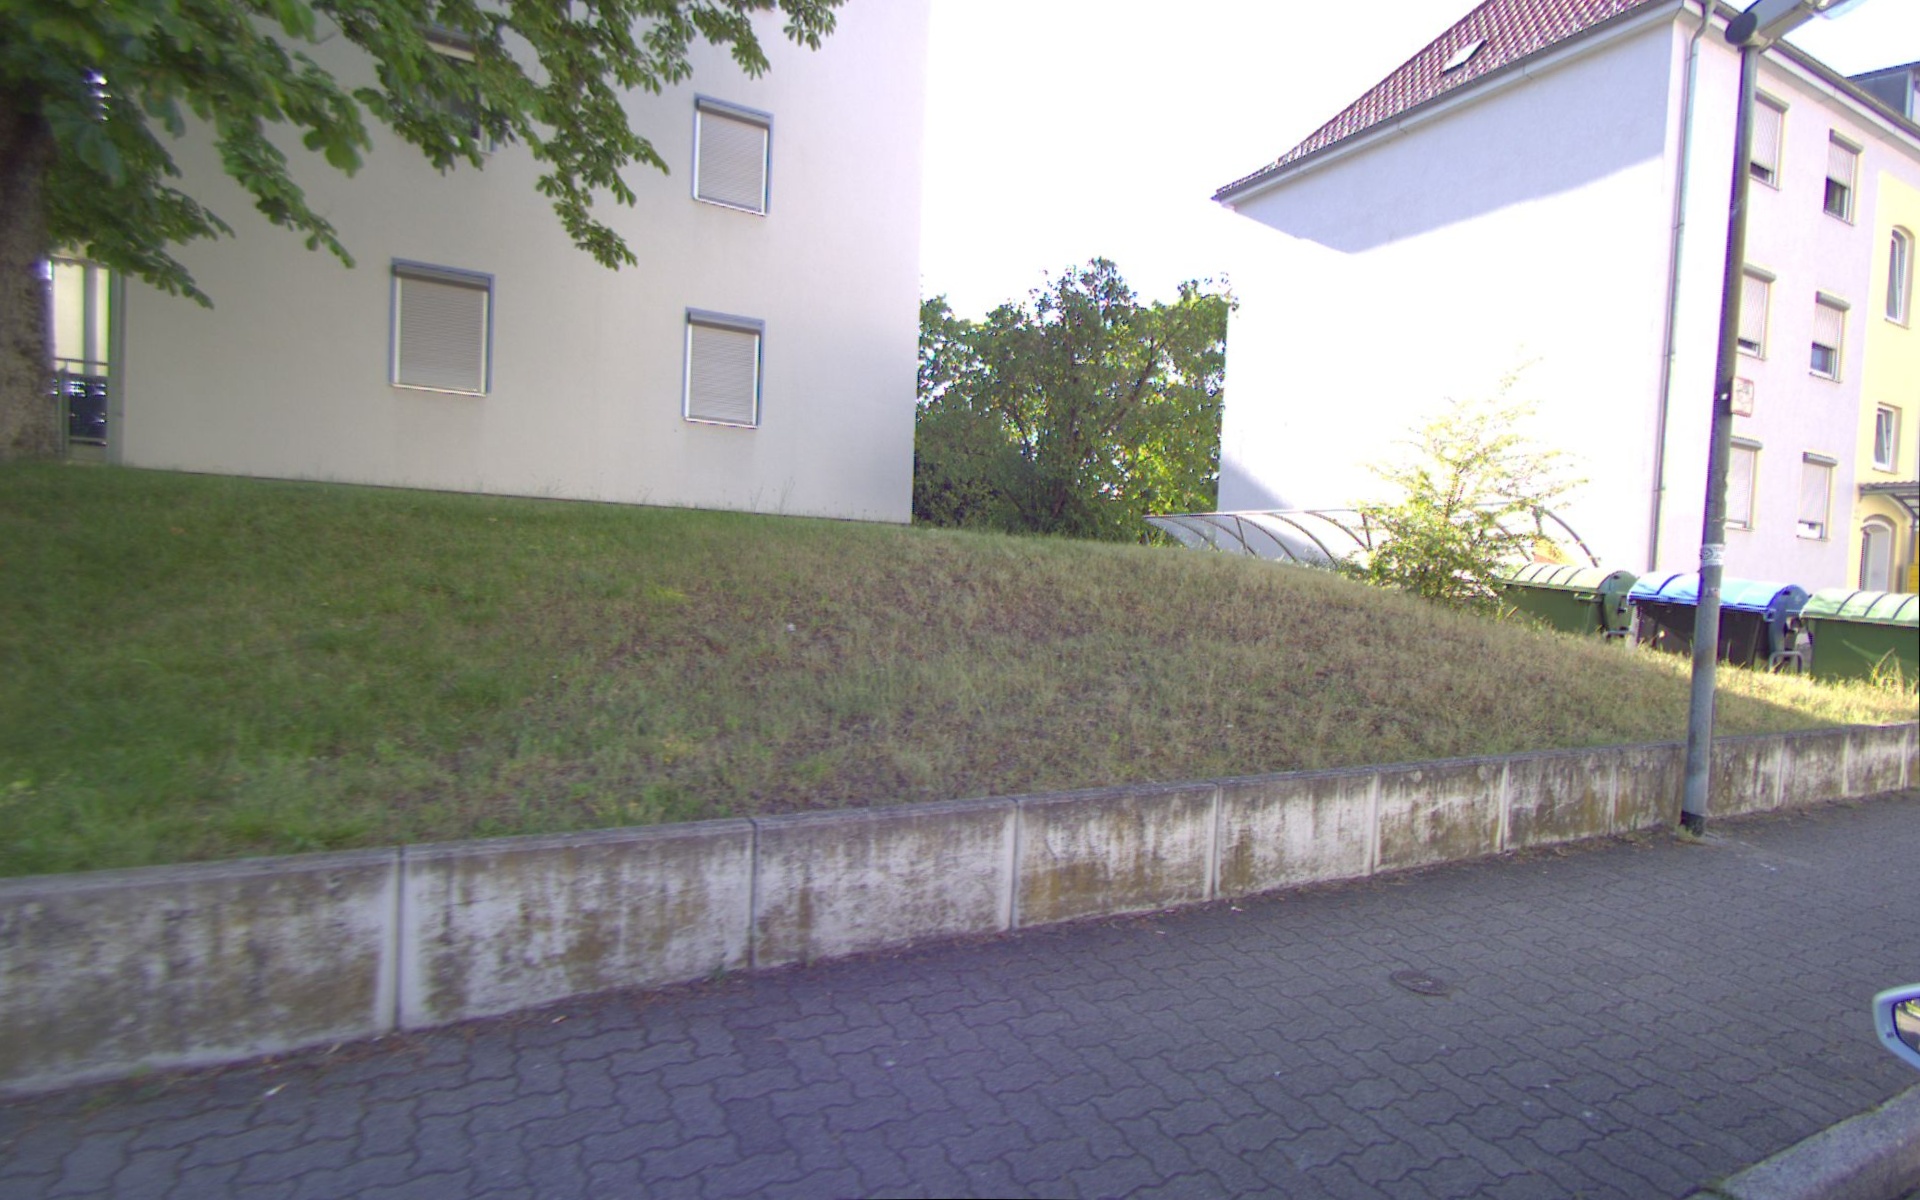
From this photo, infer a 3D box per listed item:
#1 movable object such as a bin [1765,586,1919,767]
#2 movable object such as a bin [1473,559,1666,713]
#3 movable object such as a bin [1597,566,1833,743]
[{"bbox_3d":[8.515,0.665,9.091,1.249,1.498,1.485,2,2,-28],"label":"movable object such as a bin"},{"bbox_3d":[7.032,0.378,11.647,1.176,1.635,1.453,2,2,-28],"label":"movable object such as a bin"},{"bbox_3d":[7.746,0.508,10.362,1.248,1.644,1.492,2,2,-28],"label":"movable object such as a bin"}]
